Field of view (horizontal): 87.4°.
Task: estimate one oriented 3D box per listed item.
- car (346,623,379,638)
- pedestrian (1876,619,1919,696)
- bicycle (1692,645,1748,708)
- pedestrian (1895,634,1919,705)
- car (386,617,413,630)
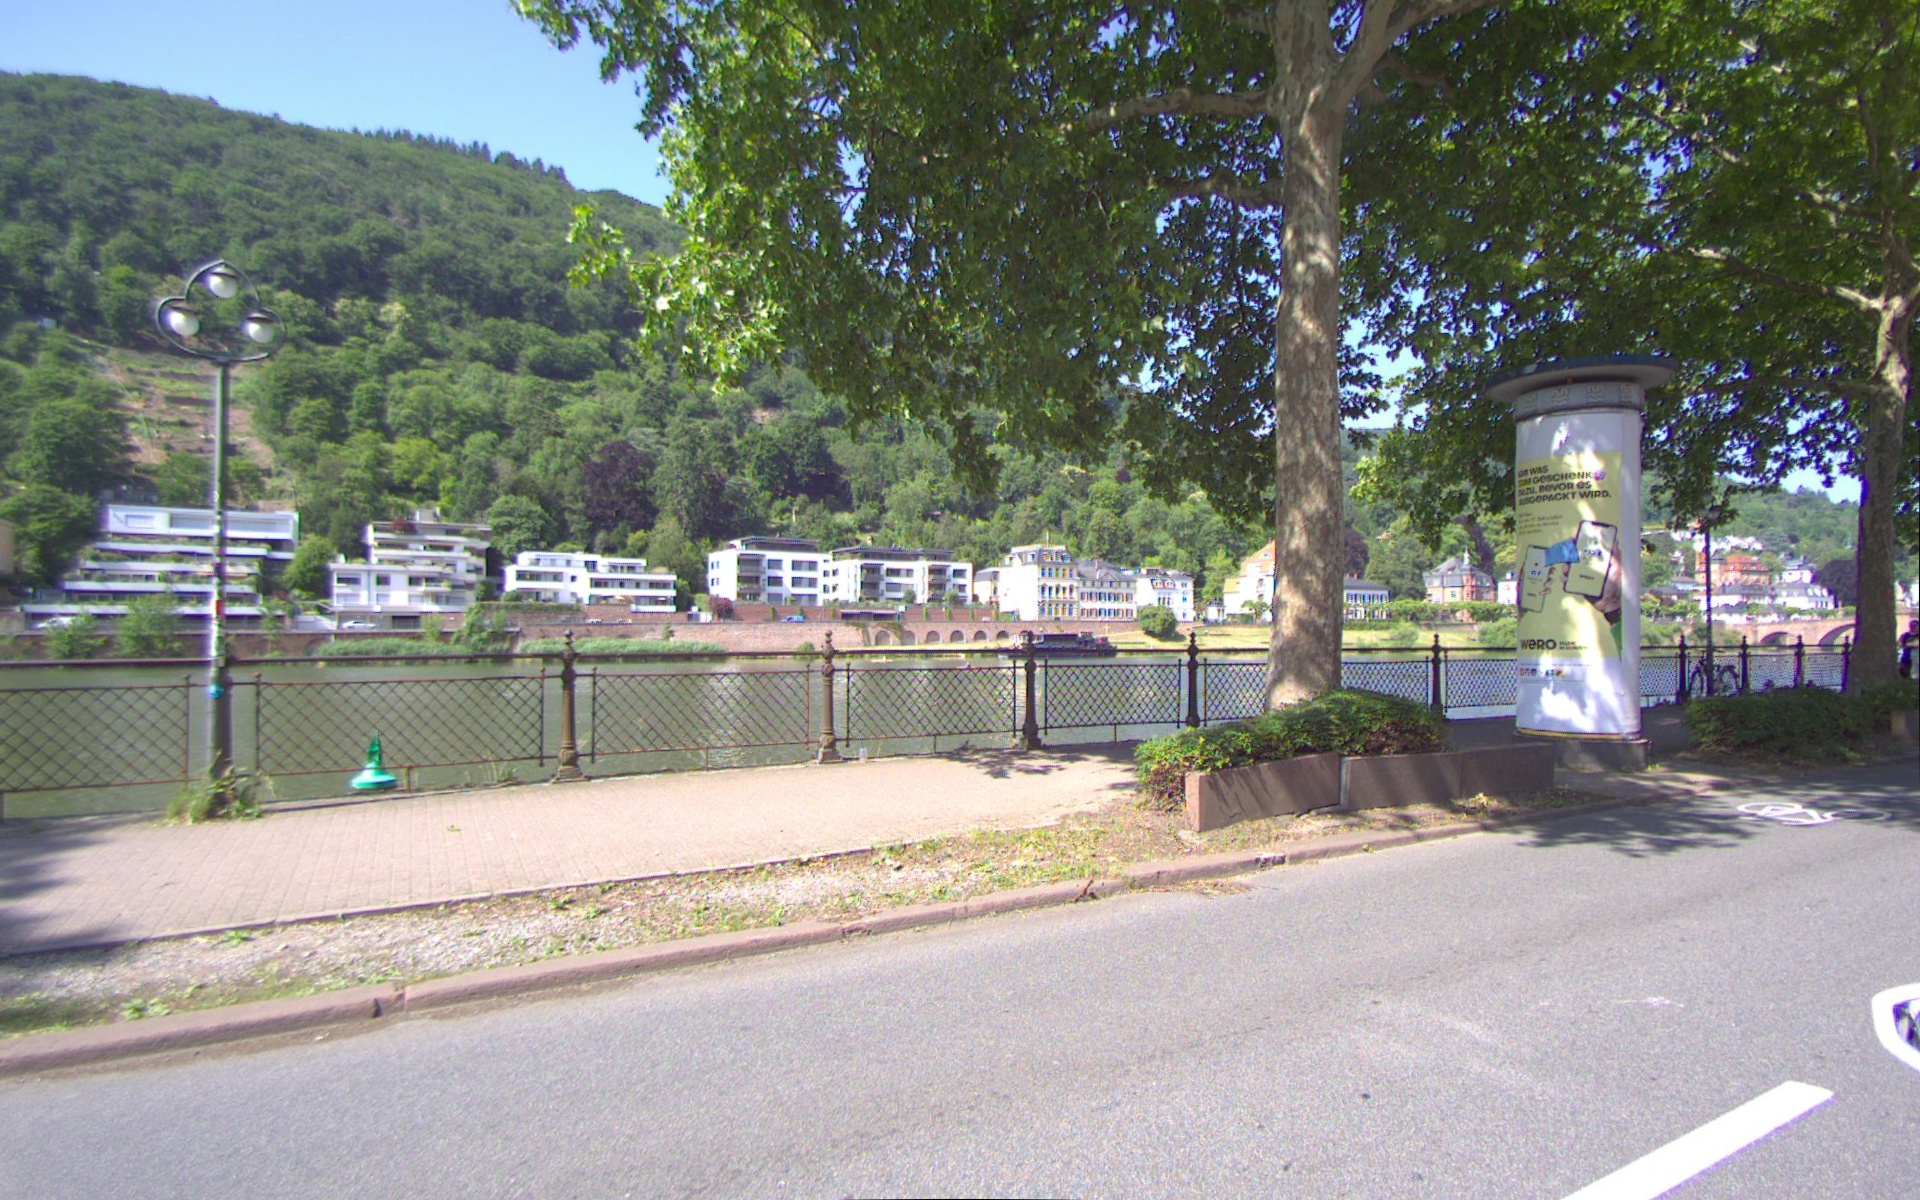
[{"bbox_3d":[-84.895,4.326,142.860,3.953,2.040,1.984,2,0,-30],"label":"car"},{"bbox_3d":[21.231,1.286,22.709,0.577,1.708,0.598,1,-2,-31],"label":"pedestrian"},{"bbox_3d":[14.350,1.430,18.959,1.281,1.106,0.357,1,2,-31],"label":"bicycle"},{"bbox_3d":[18.973,1.371,19.946,0.411,1.381,0.477,1,-1,-26],"label":"pedestrian"},{"bbox_3d":[-94.986,3.964,170.357,3.953,2.041,1.984,0,1,-30],"label":"car"}]
